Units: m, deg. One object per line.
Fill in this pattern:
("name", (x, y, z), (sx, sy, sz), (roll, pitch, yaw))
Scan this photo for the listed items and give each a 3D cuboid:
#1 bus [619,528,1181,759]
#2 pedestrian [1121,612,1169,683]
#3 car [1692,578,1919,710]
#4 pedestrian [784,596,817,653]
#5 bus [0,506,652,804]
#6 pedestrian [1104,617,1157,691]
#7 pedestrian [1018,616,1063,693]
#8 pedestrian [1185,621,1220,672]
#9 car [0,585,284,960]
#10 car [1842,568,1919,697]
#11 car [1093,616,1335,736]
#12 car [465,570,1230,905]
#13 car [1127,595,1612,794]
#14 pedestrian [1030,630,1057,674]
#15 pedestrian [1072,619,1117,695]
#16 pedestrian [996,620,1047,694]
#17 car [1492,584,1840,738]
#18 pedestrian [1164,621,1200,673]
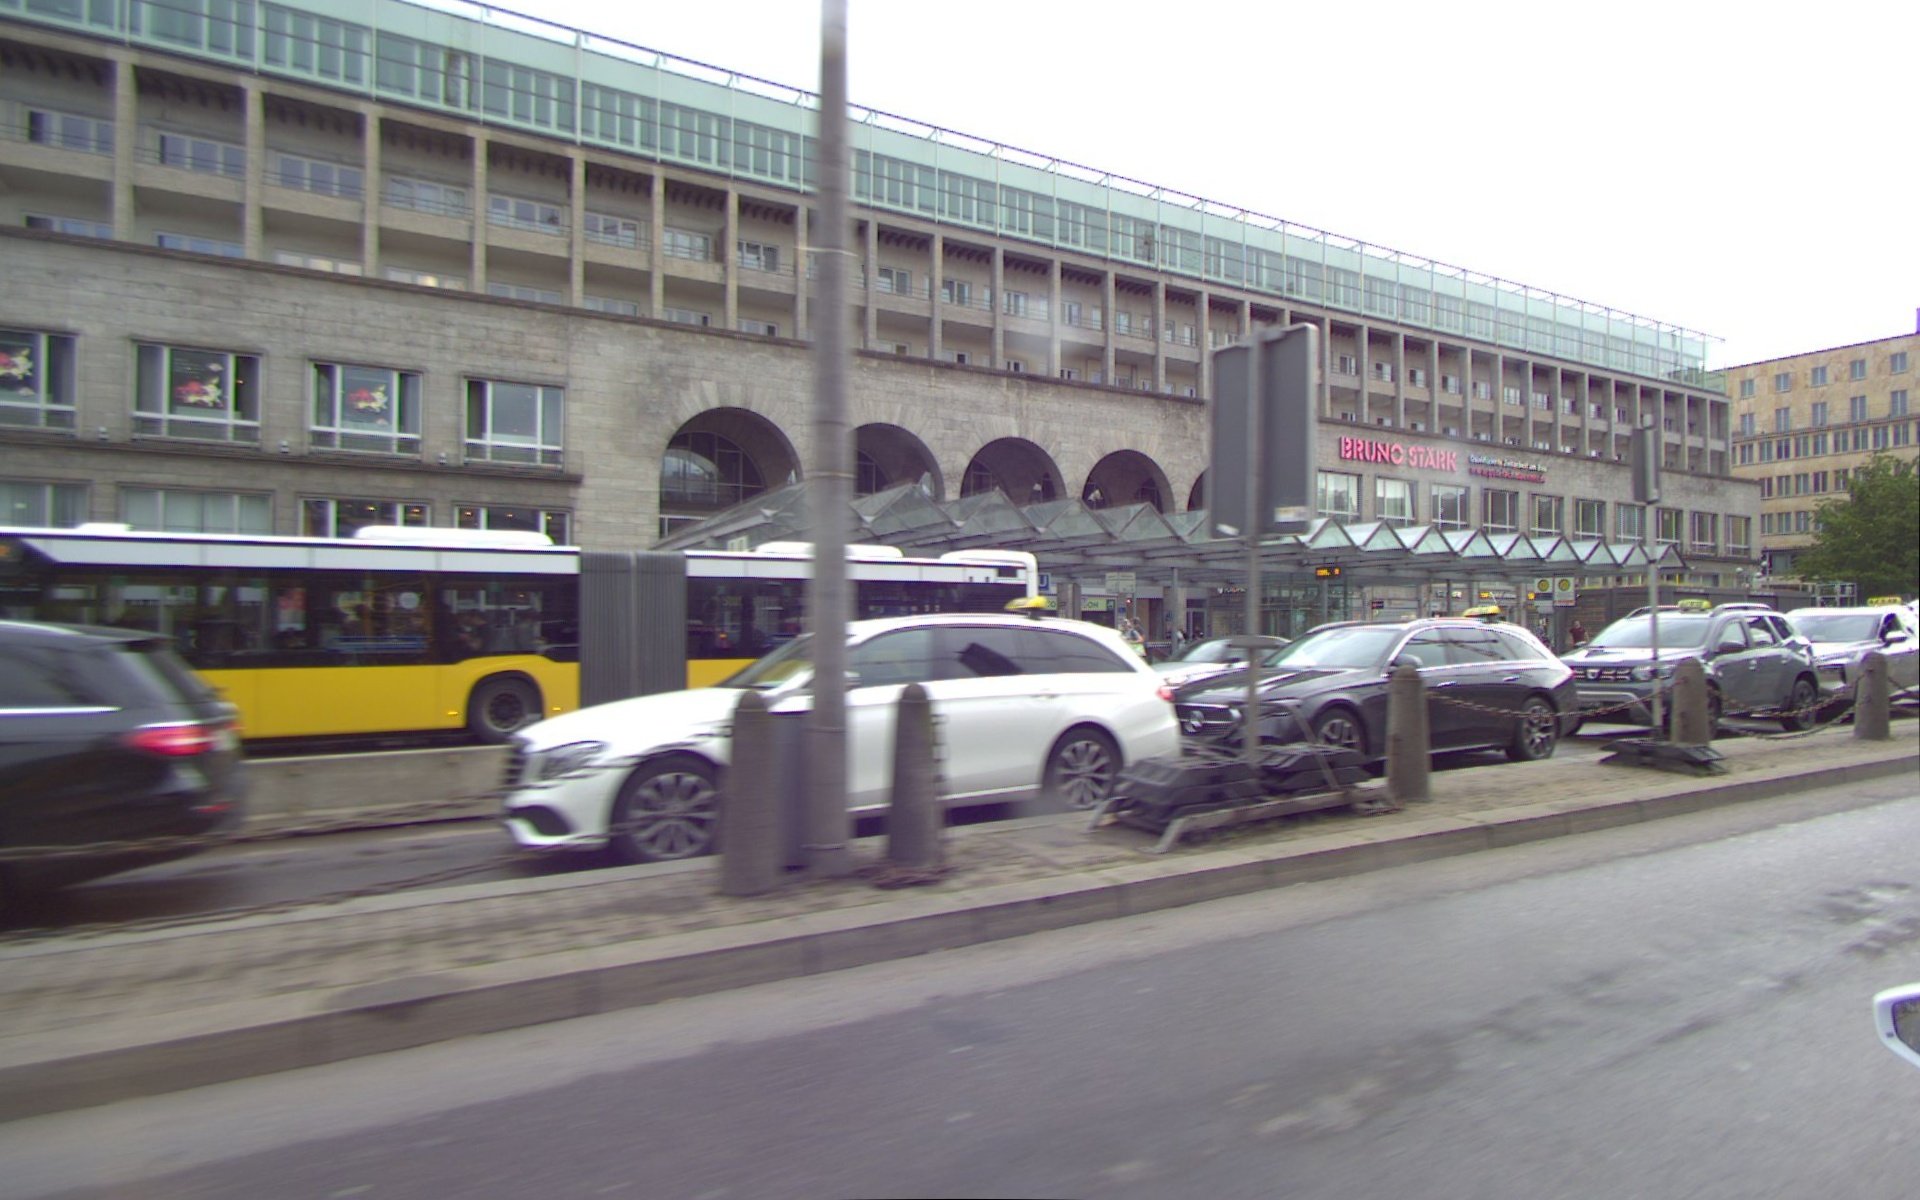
("bus", (-0.769, 0.662, 19.039), (10.446, 3.505, 2.865), (0, -1, -30))
("pedestrian", (4.919, 1.244, 26.734), (1.013, 1.832, 0.737), (-1, 1, -28))
("car", (13.854, 0.658, 15.872), (4.526, 1.830, 1.922), (0, -3, -29))
("pedestrian", (-4.539, 0.697, 28.526), (0.747, 1.588, 0.628), (-1, 1, -28))
("bus", (-9.889, 0.665, 13.809), (10.446, 3.421, 2.865), (0, -2, -30))
("pedestrian", (4.099, 1.281, 24.200), (1.013, 1.689, 0.737), (-1, 1, -28))
("pedestrian", (1.867, 1.247, 23.345), (0.845, 1.748, 0.621), (-1, 1, -29))
("pedestrian", (8.256, 1.556, 34.219), (0.882, 1.677, 0.753), (-1, 1, -27))
("car", (-5.964, 0.781, 4.301), (4.954, 1.597, 1.921), (0, -3, -31))
("car", (18.758, 0.536, 18.513), (5.475, 2.207, 1.986), (0, -1, -29))
("car", (4.628, 1.261, 18.189), (4.072, 1.853, 1.983), (-1, 1, -31))
("car", (-0.645, 0.749, 7.239), (5.132, 1.681, 1.967), (0, -3, -31))
("car", (4.256, 0.814, 10.195), (4.993, 1.597, 1.921), (0, -3, -31))
("pedestrian", (3.105, 1.934, 37.365), (0.747, 1.588, 0.628), (-1, 1, -28))
("pedestrian", (3.197, 1.334, 23.884), (0.845, 1.748, 0.621), (-1, 1, -29))
("pedestrian", (1.456, 1.332, 23.810), (1.013, 1.689, 0.626), (-1, 1, -28))
("car", (9.422, 0.734, 13.312), (4.828, 1.721, 1.921), (0, -3, -31))
("pedestrian", (7.467, 1.561, 33.810), (0.882, 1.677, 0.753), (-1, 1, -27))
